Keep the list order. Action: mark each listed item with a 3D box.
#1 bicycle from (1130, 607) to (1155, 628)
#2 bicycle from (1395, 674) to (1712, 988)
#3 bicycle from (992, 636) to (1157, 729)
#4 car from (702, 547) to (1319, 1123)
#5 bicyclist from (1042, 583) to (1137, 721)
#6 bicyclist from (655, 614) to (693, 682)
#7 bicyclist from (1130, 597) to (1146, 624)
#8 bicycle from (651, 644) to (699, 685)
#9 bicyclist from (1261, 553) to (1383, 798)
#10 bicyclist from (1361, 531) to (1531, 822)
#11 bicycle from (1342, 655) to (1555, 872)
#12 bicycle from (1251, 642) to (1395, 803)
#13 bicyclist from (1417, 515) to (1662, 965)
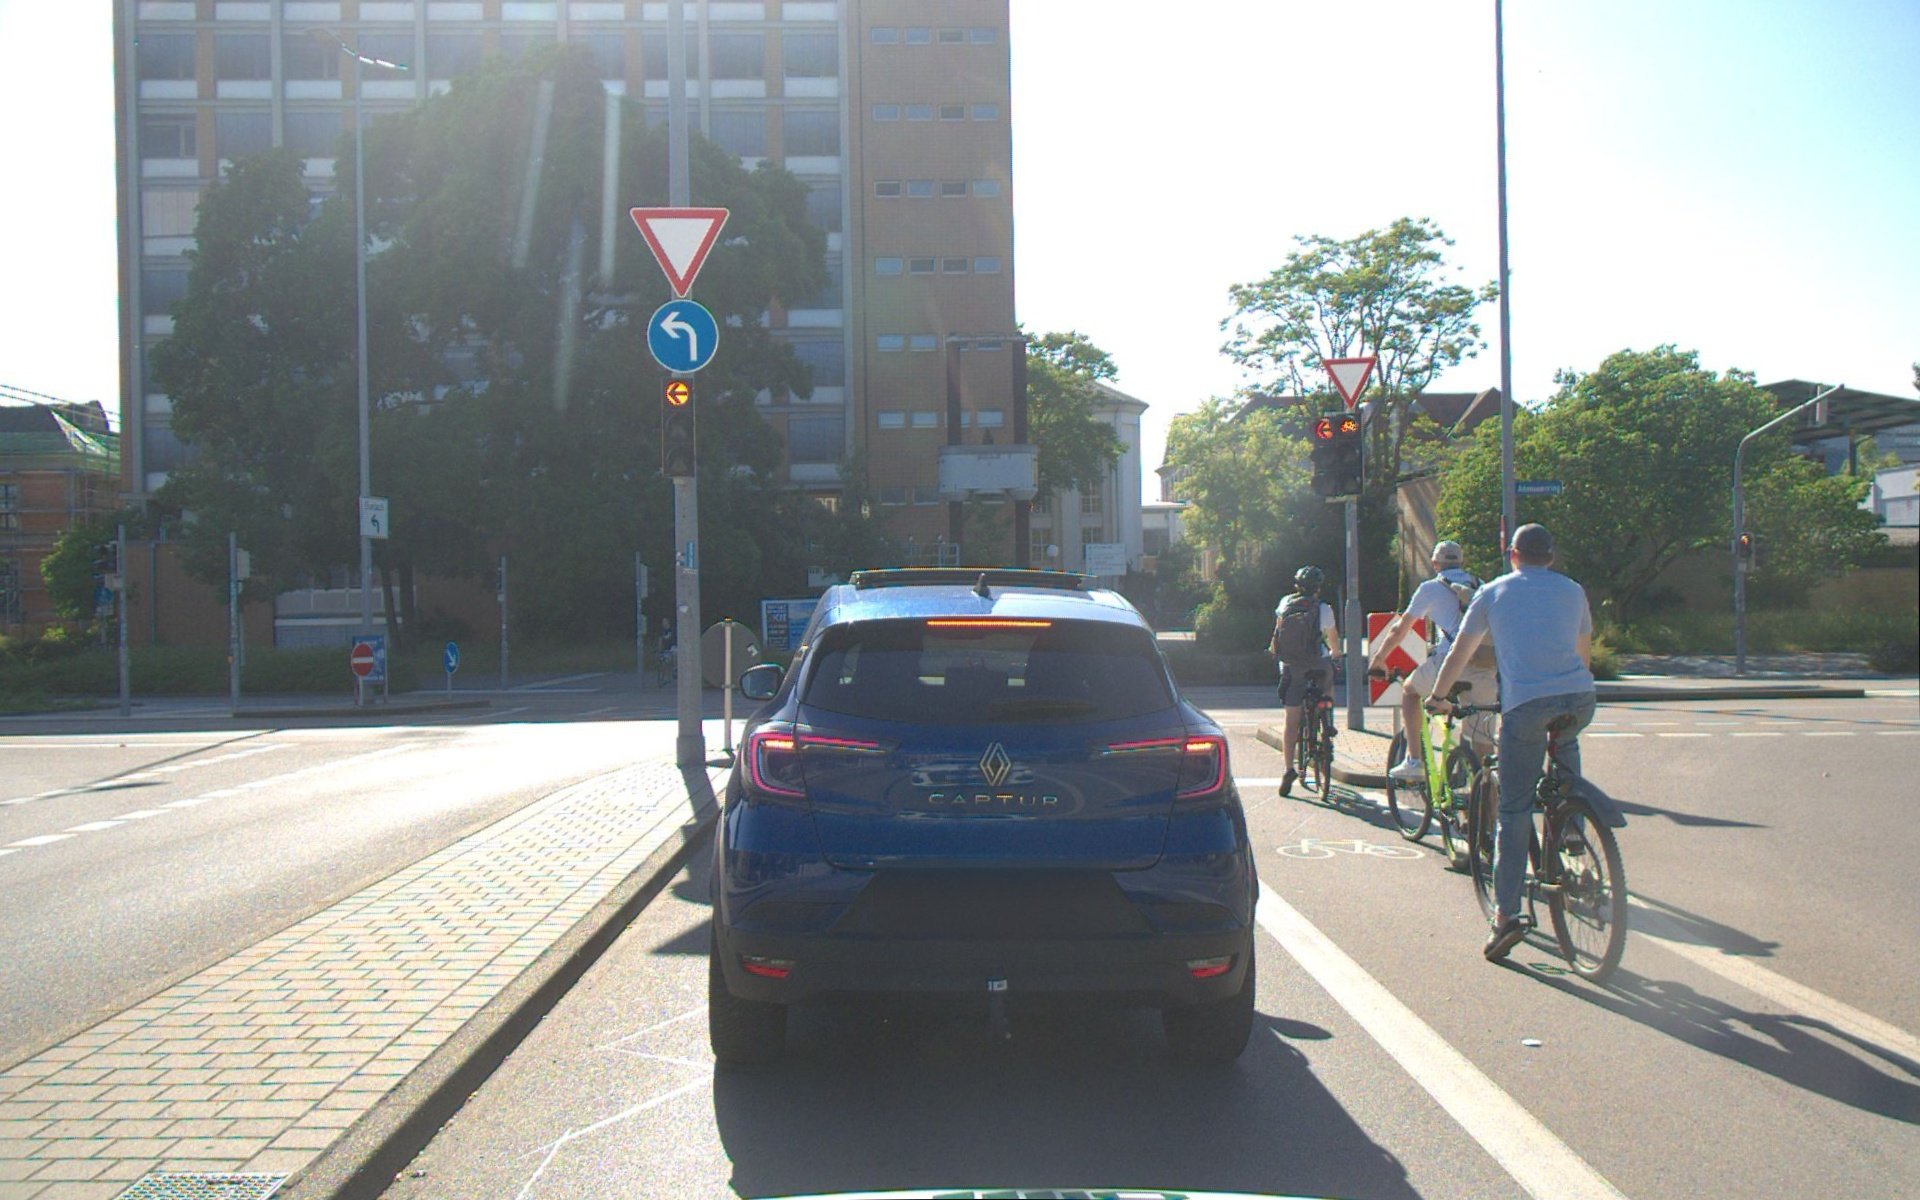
[{"bbox_3d":[10.429,0.989,94.488,0.680,1.160,2.440,-1,0,24],"label":"bicycle"},{"bbox_3d":[2.506,0.919,7.243,0.675,1.108,1.922,0,0,-1],"label":"bicycle"},{"bbox_3d":[1.352,0.952,19.312,1.858,0.990,0.650,-2,0,6],"label":"bicycle"},{"bbox_3d":[0.062,0.662,6.643,1.753,1.613,3.912,0,0,-3],"label":"car"},{"bbox_3d":[1.516,0.597,19.296,1.029,1.540,0.642,-2,0,6],"label":"bicyclist"},{"bbox_3d":[-7.540,1.255,43.666,0.739,1.746,0.999,-1,0,5],"label":"bicyclist"},{"bbox_3d":[10.084,0.584,93.706,0.680,1.507,0.717,-1,0,24],"label":"bicyclist"},{"bbox_3d":[-7.522,1.697,43.769,0.739,1.002,2.095,-1,0,5],"label":"bicycle"},{"bbox_3d":[2.787,0.560,12.840,0.685,1.822,1.142,0,0,-1],"label":"bicyclist"},{"bbox_3d":[2.856,0.428,9.820,0.664,1.622,1.142,0,0,-1],"label":"bicyclist"},{"bbox_3d":[2.847,0.910,9.848,0.675,1.108,1.922,0,0,-1],"label":"bicycle"},{"bbox_3d":[2.784,0.908,12.886,0.675,1.108,1.922,0,0,-1],"label":"bicycle"},{"bbox_3d":[2.512,0.568,7.289,0.669,1.822,1.142,0,0,-1],"label":"bicyclist"}]
